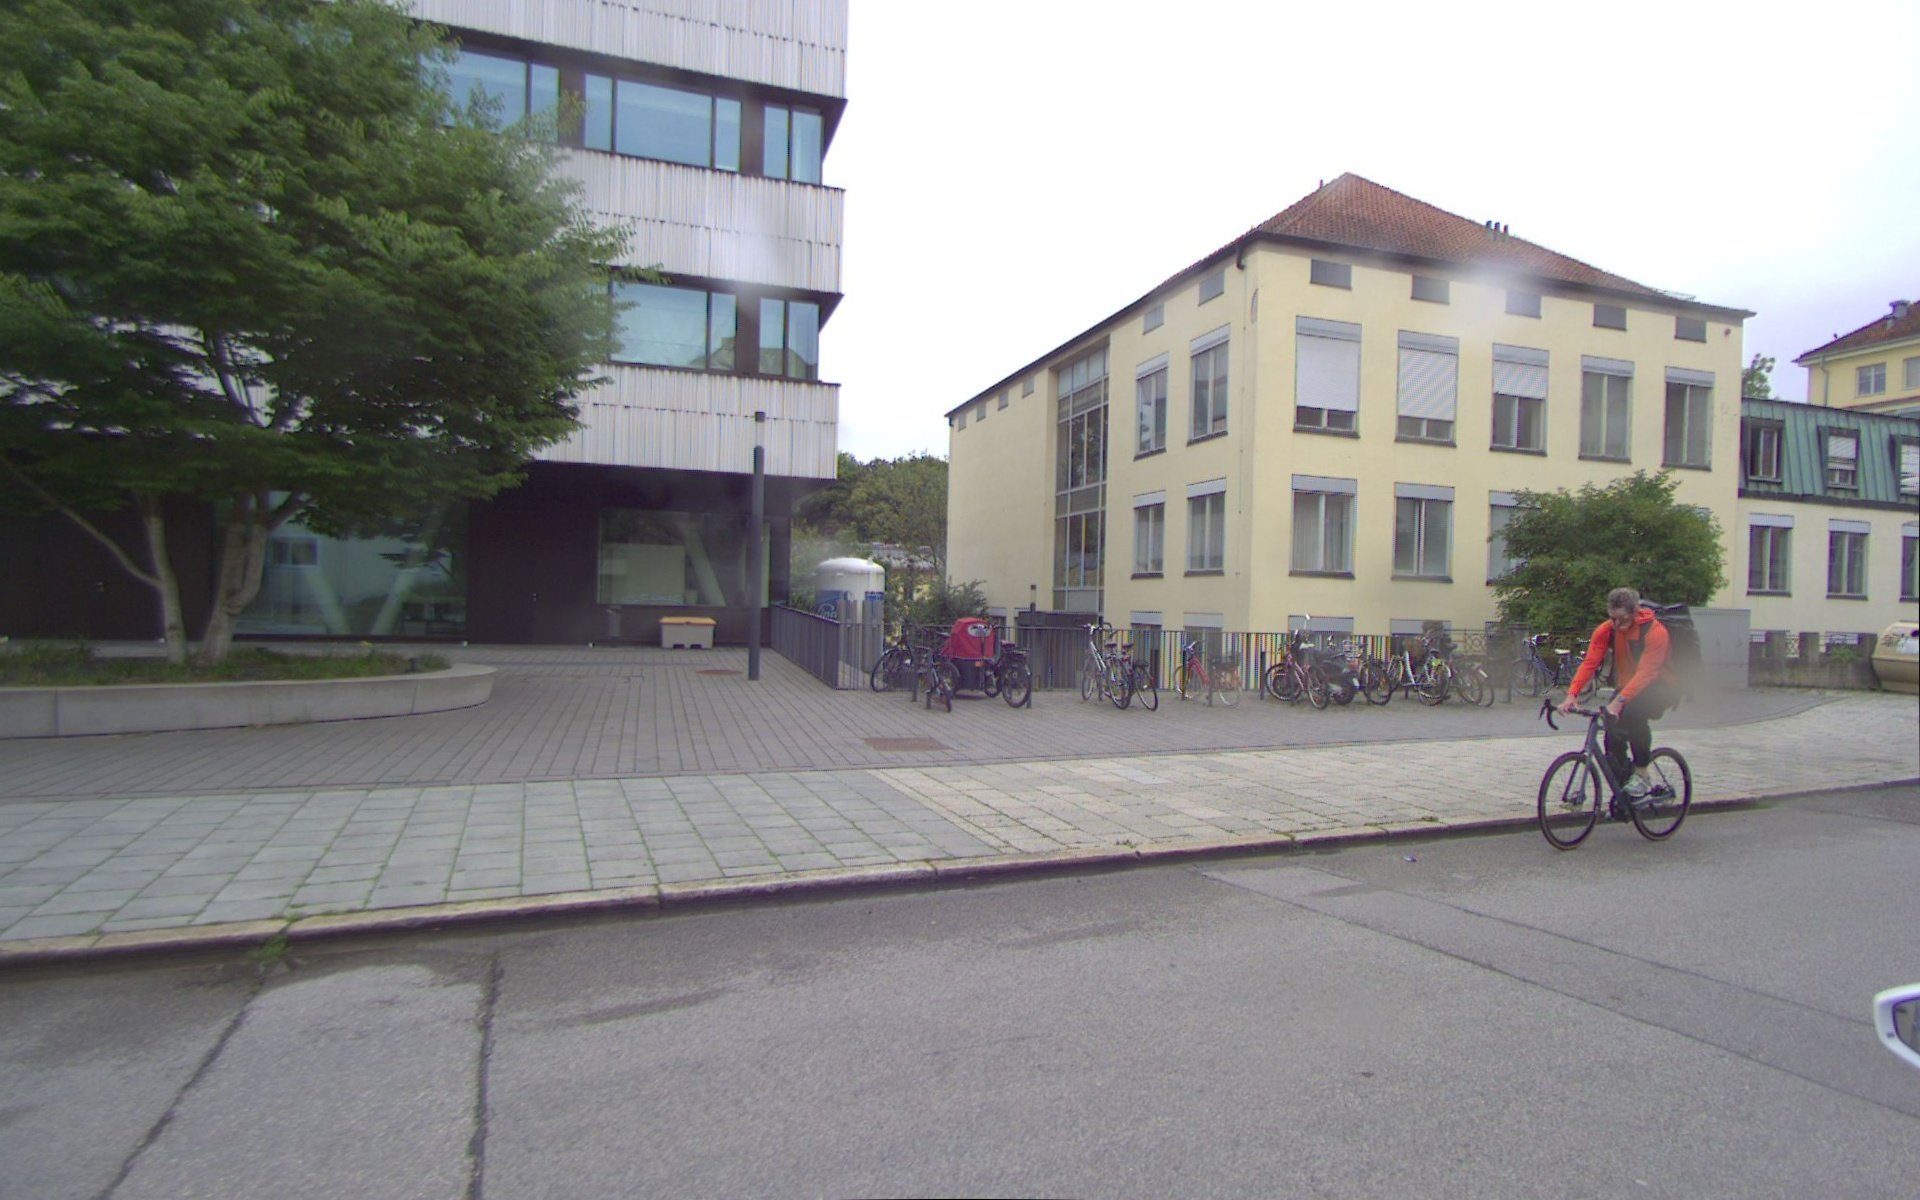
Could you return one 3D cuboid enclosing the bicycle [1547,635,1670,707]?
[{"bbox_3d":[11.693,1.248,18.203,0.666,1.107,1.905,1,2,-14],"label":"bicycle"}]

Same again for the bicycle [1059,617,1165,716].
[{"bbox_3d":[2.200,0.936,14.872,0.773,1.244,2.105,1,2,-14],"label":"bicycle"}]

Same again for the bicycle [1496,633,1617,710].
[{"bbox_3d":[10.367,1.210,17.546,0.563,1.147,1.957,1,2,-14],"label":"bicycle"}]

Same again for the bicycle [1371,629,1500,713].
[{"bbox_3d":[7.811,1.135,16.642,0.571,1.150,2.311,1,2,-14],"label":"bicycle"}]

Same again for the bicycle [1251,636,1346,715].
[{"bbox_3d":[5.260,1.149,15.706,0.499,1.047,1.791,1,2,-14],"label":"bicycle"}]

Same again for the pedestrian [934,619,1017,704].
[{"bbox_3d":[0.226,0.887,14.782,1.024,1.178,0.717,1,2,-20],"label":"pedestrian"}]

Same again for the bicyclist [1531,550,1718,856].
[{"bbox_3d":[4.734,0.707,7.196,0.756,2.040,0.766,1,-3,-19],"label":"bicyclist"}]

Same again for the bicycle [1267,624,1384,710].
[{"bbox_3d":[5.856,1.030,16.293,0.417,1.222,2.555,1,0,-14],"label":"bicycle"}]

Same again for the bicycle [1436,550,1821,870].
[{"bbox_3d":[4.834,0.728,7.238,2.803,2.040,0.747,1,-2,-19],"label":"bicycle"}]

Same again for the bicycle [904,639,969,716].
[{"bbox_3d":[-0.346,1.030,13.835,0.432,0.874,1.717,1,2,-17],"label":"bicycle"}]

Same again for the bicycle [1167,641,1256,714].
[{"bbox_3d":[3.805,1.149,15.354,0.585,0.929,1.675,1,2,-14],"label":"bicycle"}]

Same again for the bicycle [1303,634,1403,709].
[{"bbox_3d":[6.415,1.147,16.522,0.530,1.043,1.867,1,2,-14],"label":"bicycle"}]

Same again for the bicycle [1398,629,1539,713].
[{"bbox_3d":[8.495,1.148,16.934,0.625,1.156,2.487,1,2,-14],"label":"bicycle"}]

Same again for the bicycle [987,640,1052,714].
[{"bbox_3d":[0.810,1.040,13.939,0.432,0.874,1.371,1,2,-17],"label":"bicycle"}]
